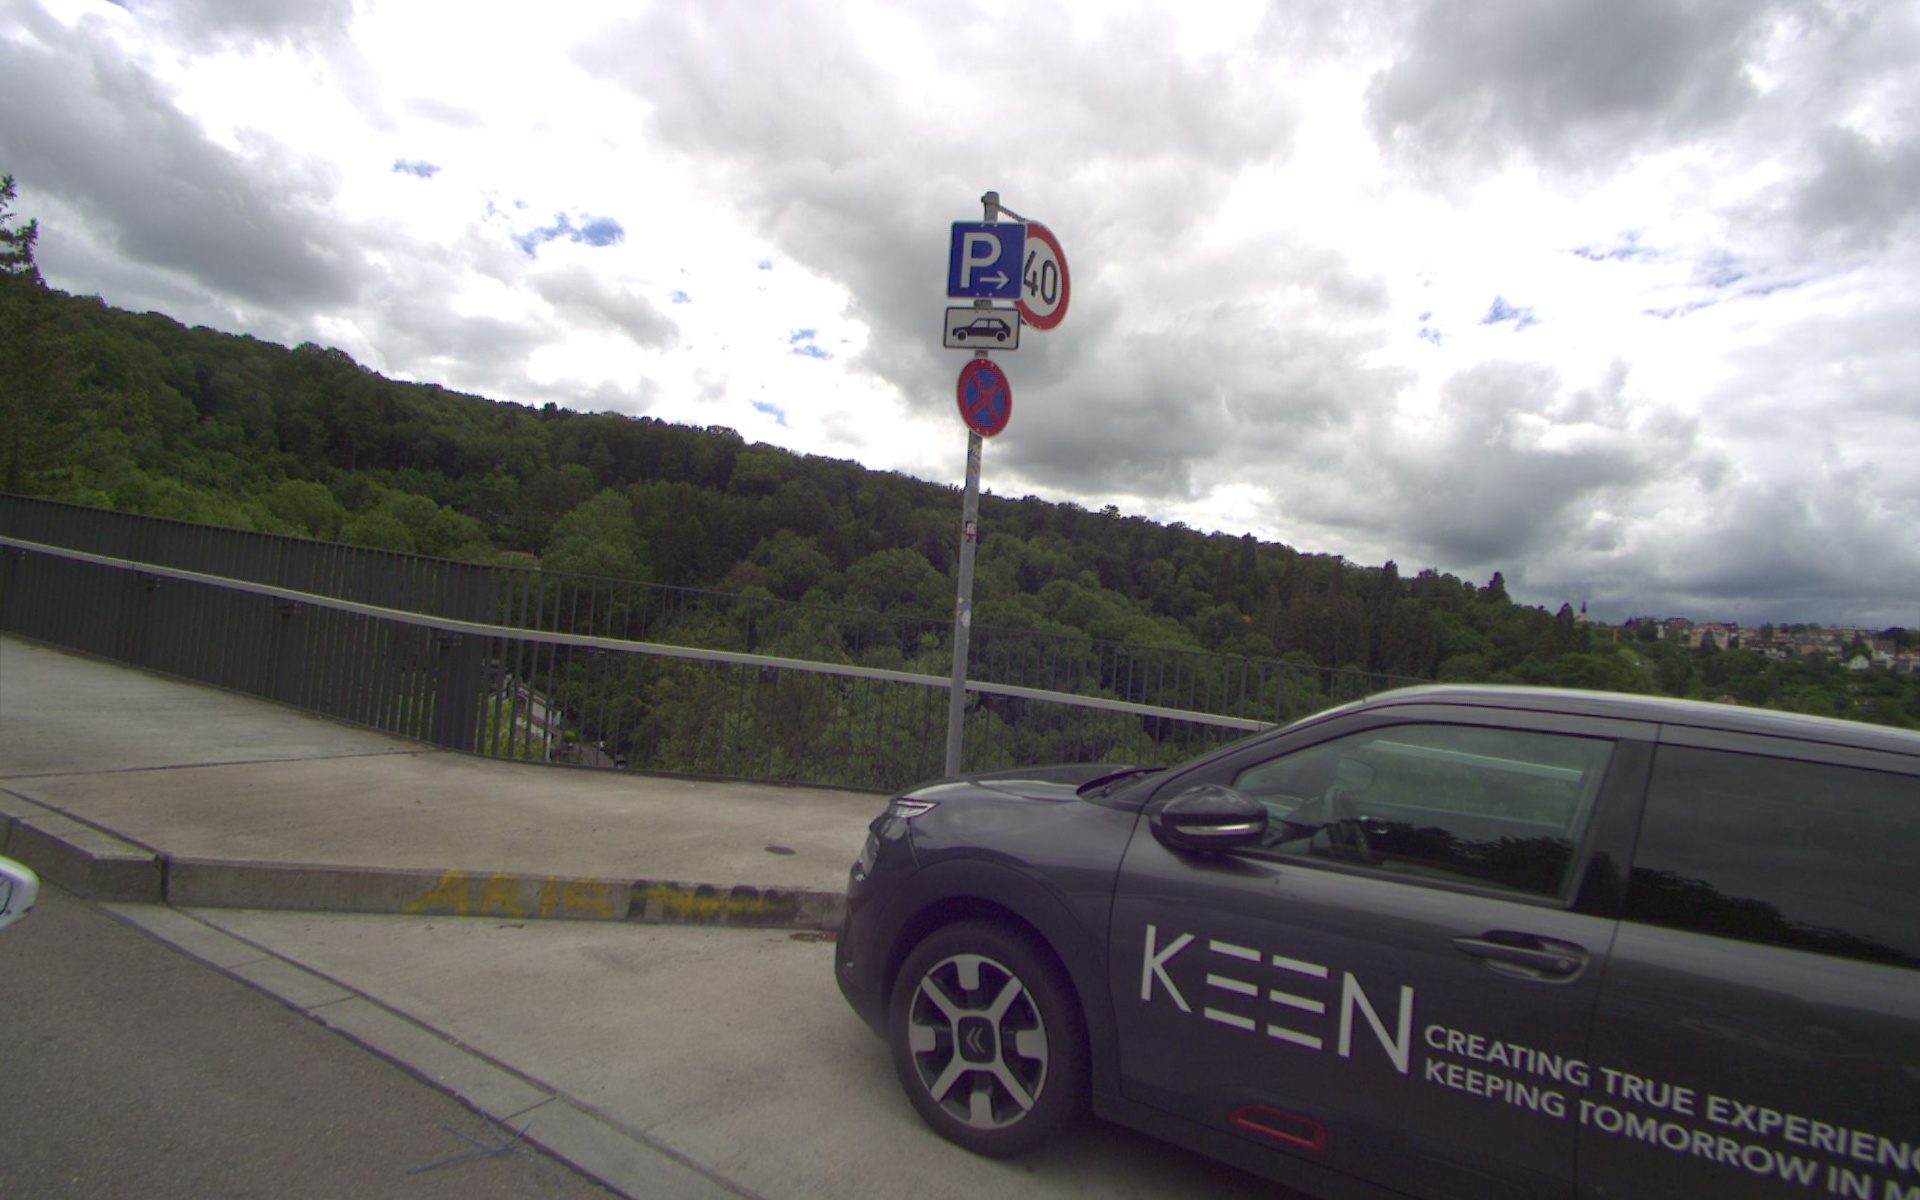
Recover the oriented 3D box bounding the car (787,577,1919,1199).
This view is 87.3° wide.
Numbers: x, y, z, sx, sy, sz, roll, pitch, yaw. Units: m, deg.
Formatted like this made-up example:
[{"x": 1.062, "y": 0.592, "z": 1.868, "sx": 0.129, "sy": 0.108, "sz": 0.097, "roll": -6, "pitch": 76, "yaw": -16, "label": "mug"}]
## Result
[{"x": 1.718, "y": 0.969, "z": 2.818, "sx": 4.024, "sy": 1.561, "sz": 1.877, "roll": 6, "pitch": -1, "yaw": 33, "label": "car"}]
